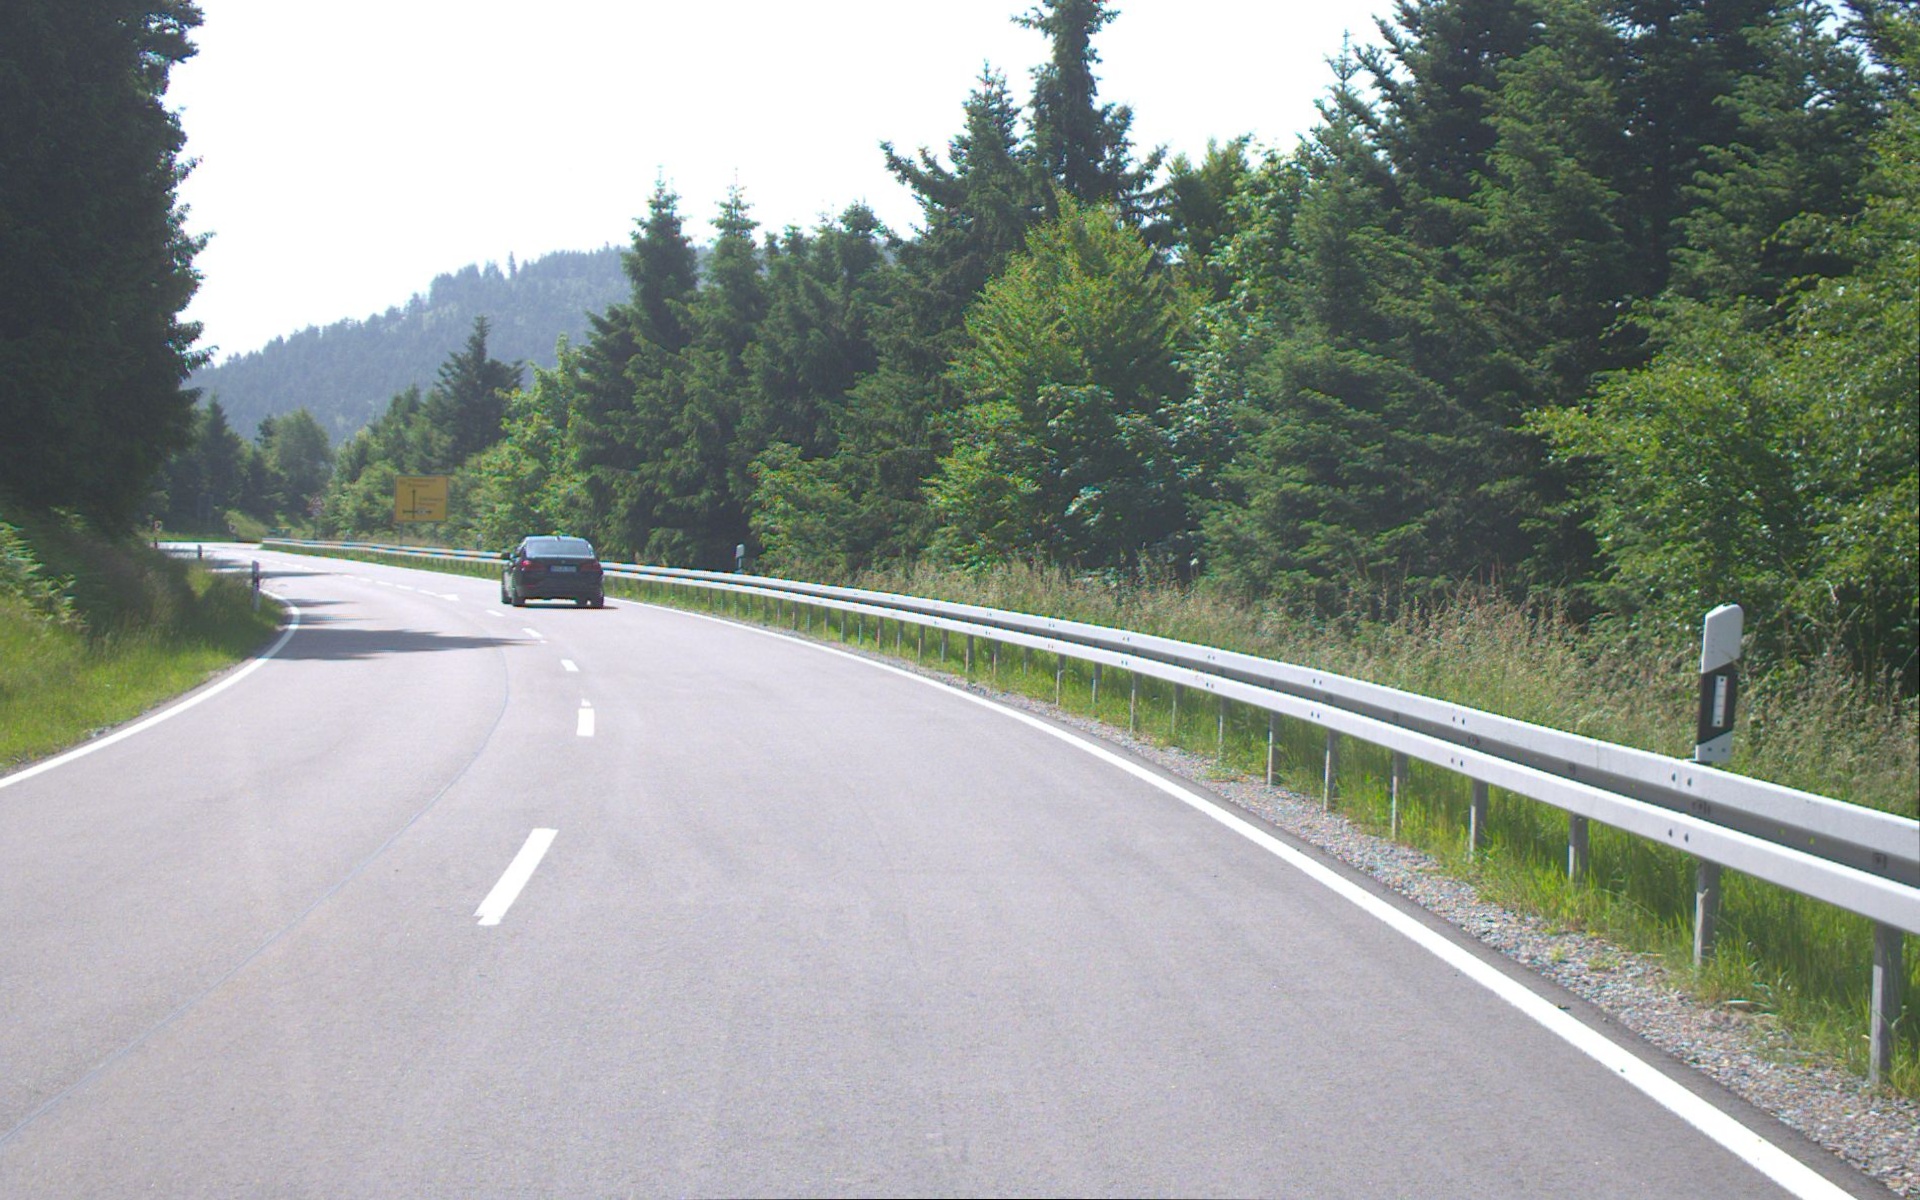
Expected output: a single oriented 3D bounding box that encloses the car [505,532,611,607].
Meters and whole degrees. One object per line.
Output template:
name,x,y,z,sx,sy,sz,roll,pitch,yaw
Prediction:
car,-8.134,-0.635,69.290,1.775,1.437,3.710,-1,1,-12
